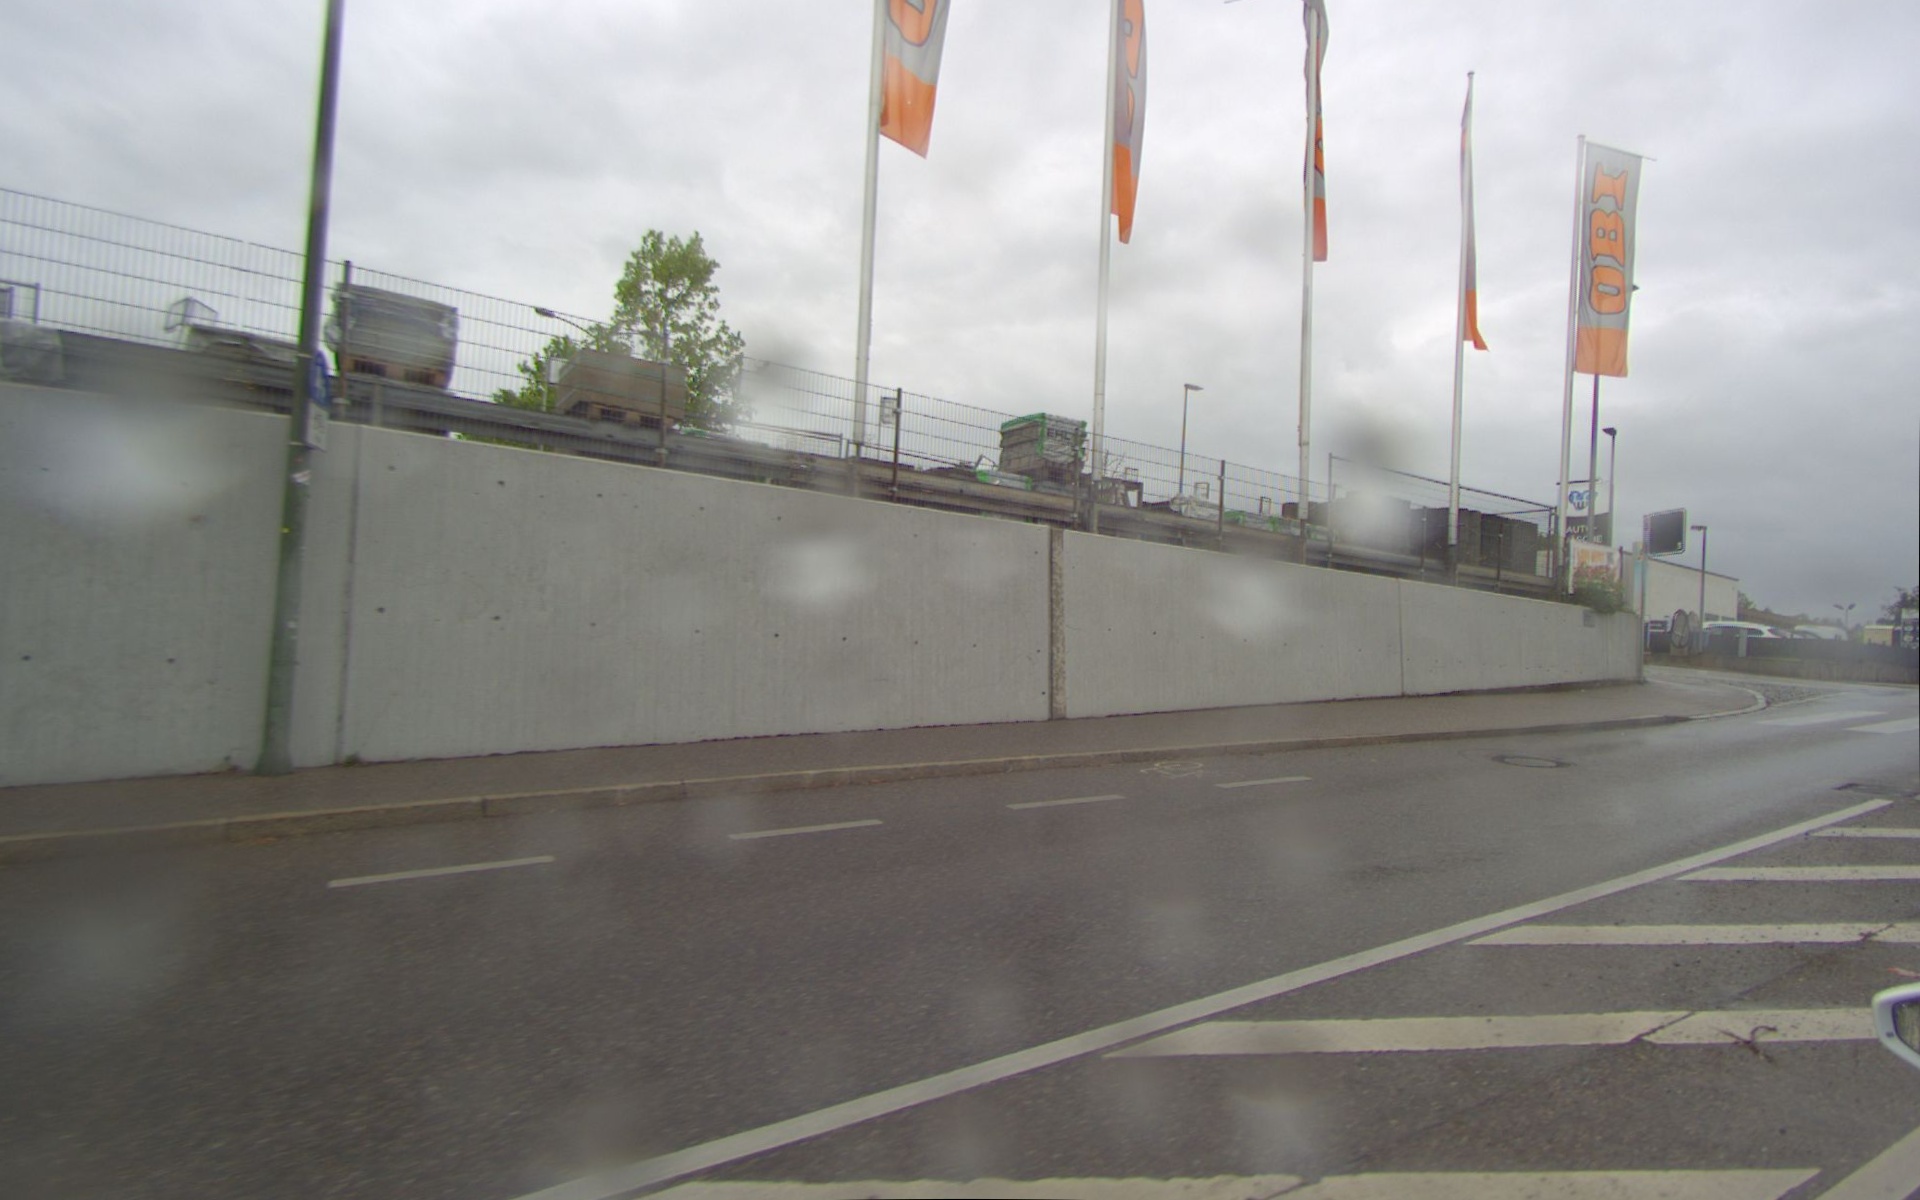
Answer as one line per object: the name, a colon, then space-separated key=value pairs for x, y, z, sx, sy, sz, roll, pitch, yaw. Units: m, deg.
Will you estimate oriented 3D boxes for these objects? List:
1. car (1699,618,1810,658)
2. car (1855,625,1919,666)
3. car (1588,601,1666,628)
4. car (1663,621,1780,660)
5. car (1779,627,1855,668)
car: x=34.971 y=1.643 z=44.274 sx=1.415 sy=1.438 sz=3.507 roll=5 pitch=-1 yaw=-34
car: x=50.679 y=2.459 z=54.523 sx=4.950 sy=2.040 sz=1.980 roll=2 pitch=1 yaw=-35
car: x=39.018 y=0.840 z=58.779 sx=1.415 sy=1.439 sz=3.507 roll=1 pitch=1 yaw=-34
car: x=32.671 y=1.722 z=43.149 sx=1.981 sy=1.302 sz=3.507 roll=5 pitch=-1 yaw=-34
car: x=46.483 y=2.536 z=54.472 sx=4.951 sy=2.040 sz=1.980 roll=2 pitch=1 yaw=-36
